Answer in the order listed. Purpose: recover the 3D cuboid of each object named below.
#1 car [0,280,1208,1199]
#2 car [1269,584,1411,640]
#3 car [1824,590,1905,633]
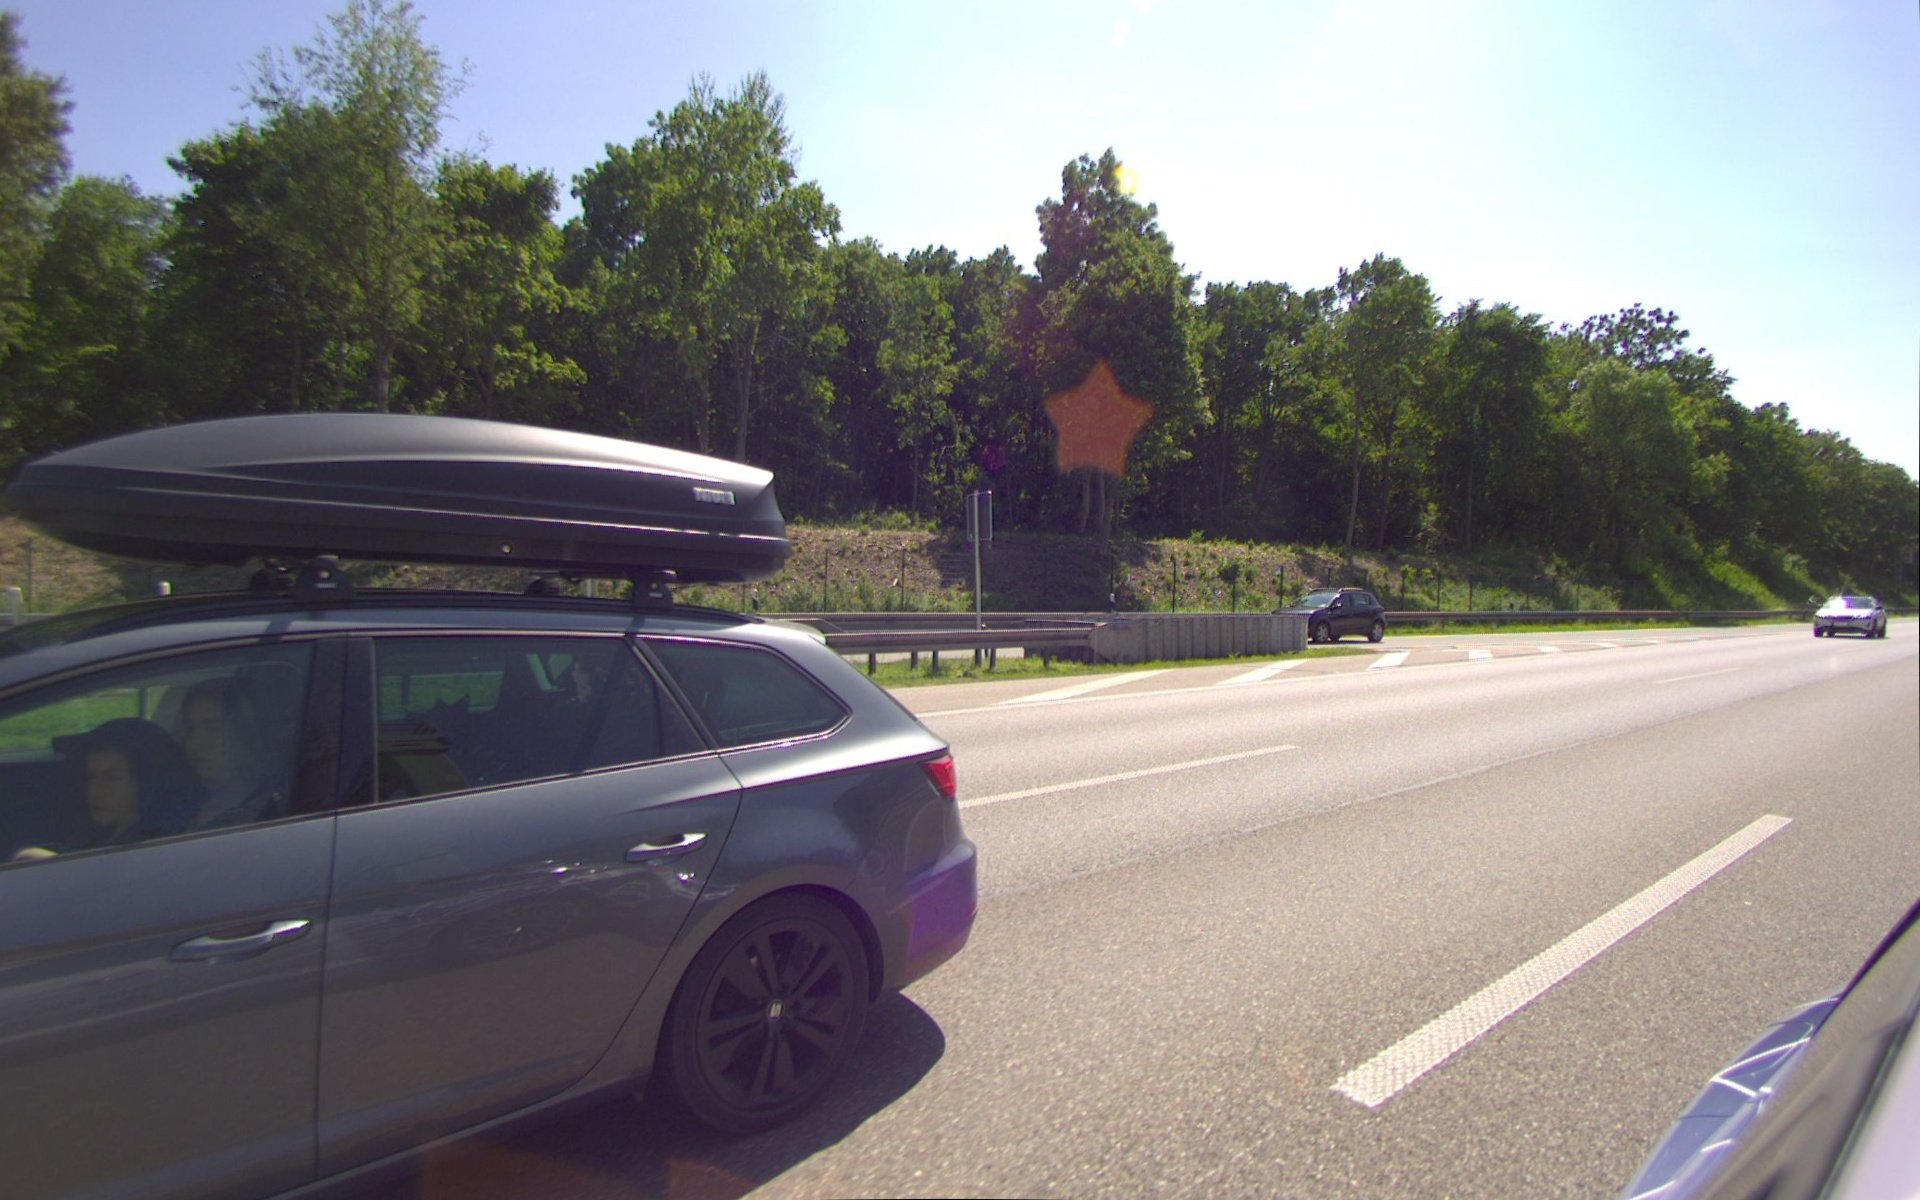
[{"bbox_3d":[-1.382,0.393,2.972,4.744,1.899,1.668,0,2,-42],"label":"car"},{"bbox_3d":[11.482,0.356,30.523,4.173,1.588,1.772,1,0,-30],"label":"car"},{"bbox_3d":[35.762,0.436,39.998,3.963,1.588,1.847,0,0,-40],"label":"car"}]
